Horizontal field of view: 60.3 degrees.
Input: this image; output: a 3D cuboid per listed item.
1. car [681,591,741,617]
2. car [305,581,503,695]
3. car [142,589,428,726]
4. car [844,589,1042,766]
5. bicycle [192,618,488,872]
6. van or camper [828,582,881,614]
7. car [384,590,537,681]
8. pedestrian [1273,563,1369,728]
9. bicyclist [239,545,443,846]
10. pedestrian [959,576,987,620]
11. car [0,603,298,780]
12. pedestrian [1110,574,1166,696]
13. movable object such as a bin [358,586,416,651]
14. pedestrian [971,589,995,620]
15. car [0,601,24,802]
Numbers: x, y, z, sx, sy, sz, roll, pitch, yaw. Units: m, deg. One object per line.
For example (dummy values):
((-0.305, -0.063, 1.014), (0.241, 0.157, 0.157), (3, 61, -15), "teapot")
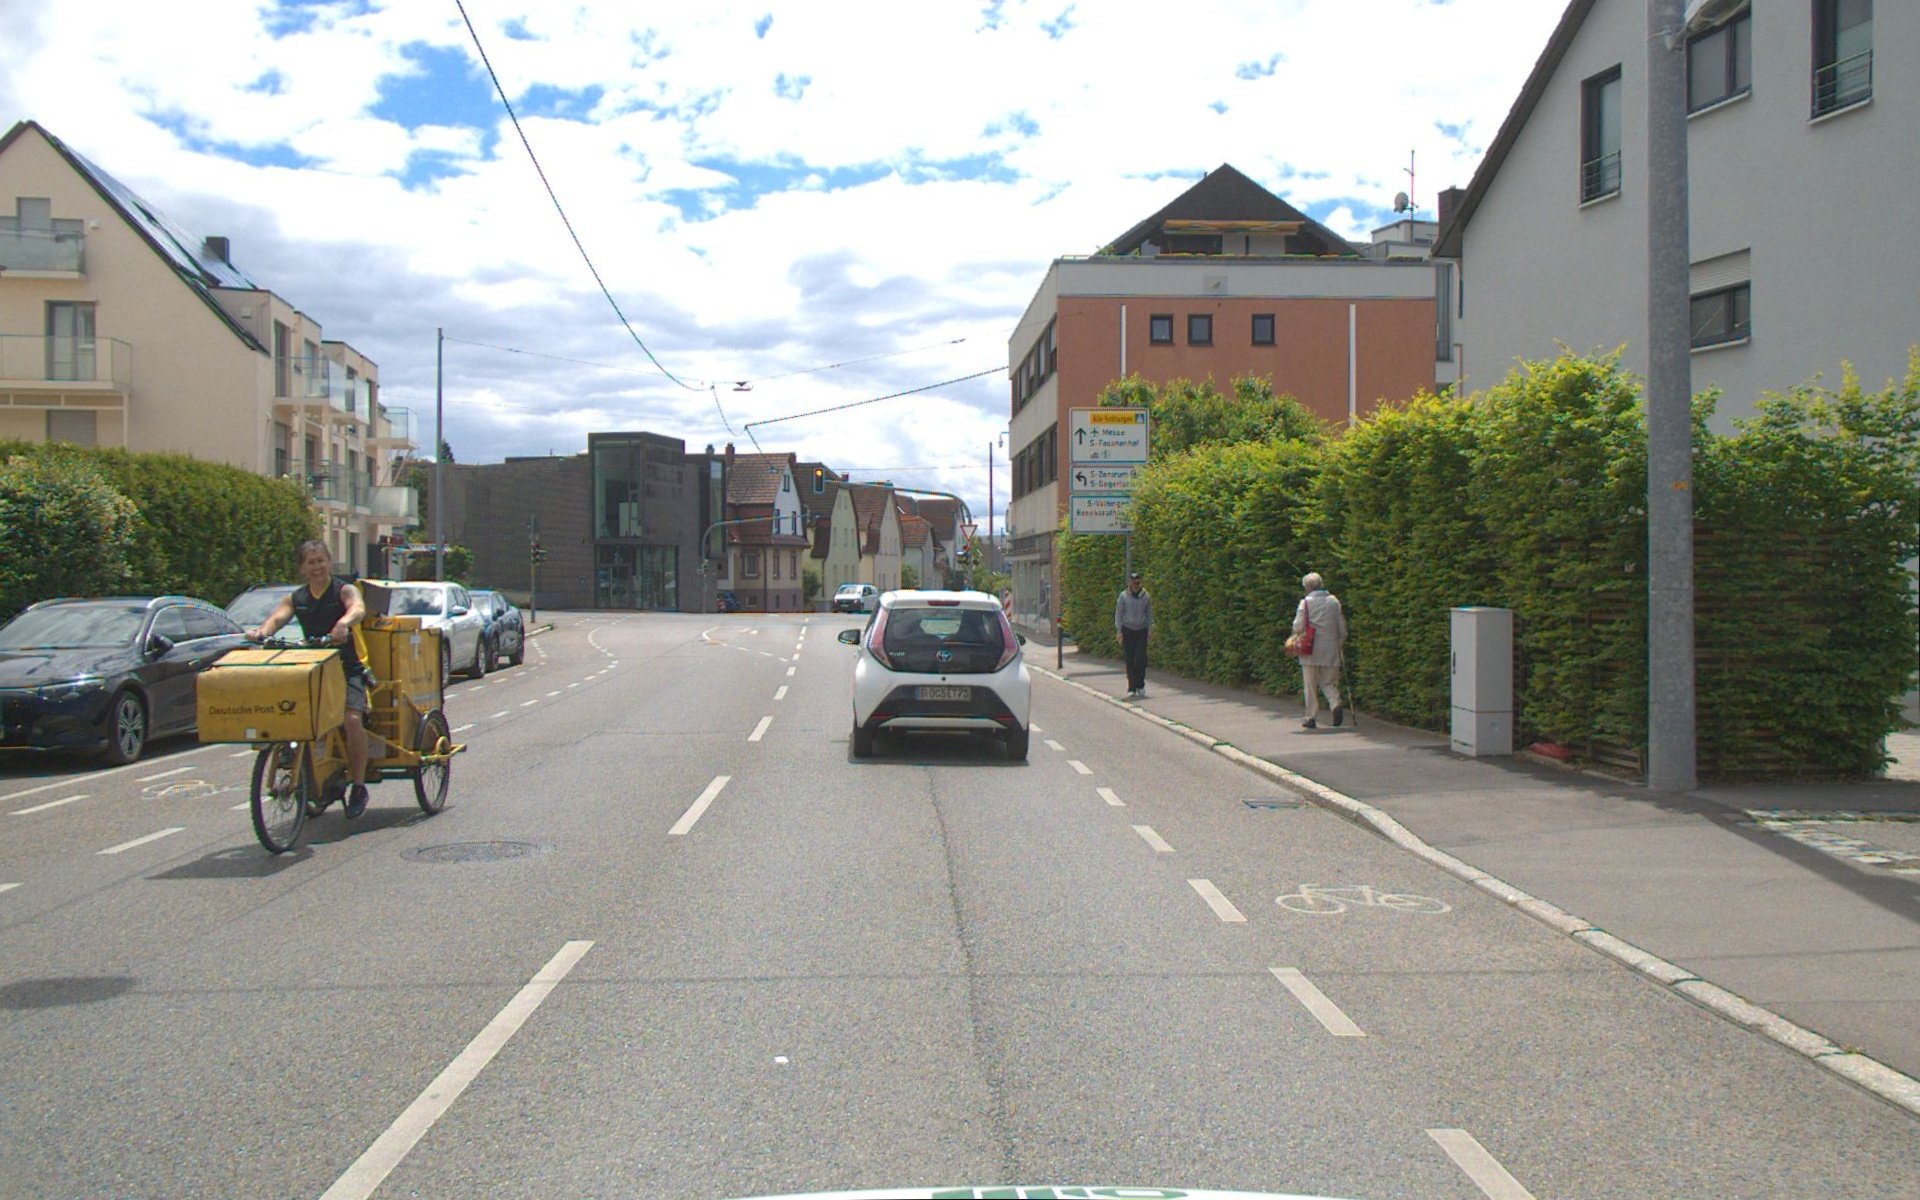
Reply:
((-16.503, 0.273, 109.627), (3.538, 1.633, 1.693), (2, 0, 7), "car")
((-8.925, 0.548, 26.960), (1.954, 1.679, 4.514), (-1, 0, -4), "car")
((-8.673, 0.662, 21.766), (1.953, 1.591, 4.688), (-1, 0, -2), "car")
((-0.219, 0.664, 15.837), (1.663, 1.482, 3.297), (1, 0, -3), "car")
((-3.757, 0.806, 10.340), (0.846, 1.324, 2.661), (0, 0, 0), "bicycle")
((-6.666, -0.103, 105.003), (2.070, 1.959, 5.290), (2, 0, 11), "van or camper")
((-9.547, 0.627, 31.970), (1.955, 1.615, 4.484), (-1, 0, -5), "car")
((3.707, 0.459, 17.014), (0.783, 1.645, 0.653), (-2, 0, -3), "pedestrian")
((-3.786, 0.548, 10.215), (0.776, 1.743, 1.209), (0, 0, 1), "bicyclist")
((0.524, -0.076, 67.230), (0.815, 1.751, 0.807), (0, 0, -36), "pedestrian")
((-8.321, 0.773, 16.117), (1.953, 1.433, 4.688), (-1, 0, -2), "car")
((2.444, 0.468, 22.785), (0.590, 1.633, 0.836), (-2, 0, -3), "pedestrian")
((-13.570, 0.423, 39.196), (1.044, 1.508, 1.213), (0, 0, -6), "movable object such as a bin")
((0.923, 0.188, 66.617), (0.727, 1.243, 0.638), (0, 0, -36), "pedestrian")
((-7.937, 0.789, 10.533), (1.743, 1.517, 4.560), (-1, 0, -6), "car")
